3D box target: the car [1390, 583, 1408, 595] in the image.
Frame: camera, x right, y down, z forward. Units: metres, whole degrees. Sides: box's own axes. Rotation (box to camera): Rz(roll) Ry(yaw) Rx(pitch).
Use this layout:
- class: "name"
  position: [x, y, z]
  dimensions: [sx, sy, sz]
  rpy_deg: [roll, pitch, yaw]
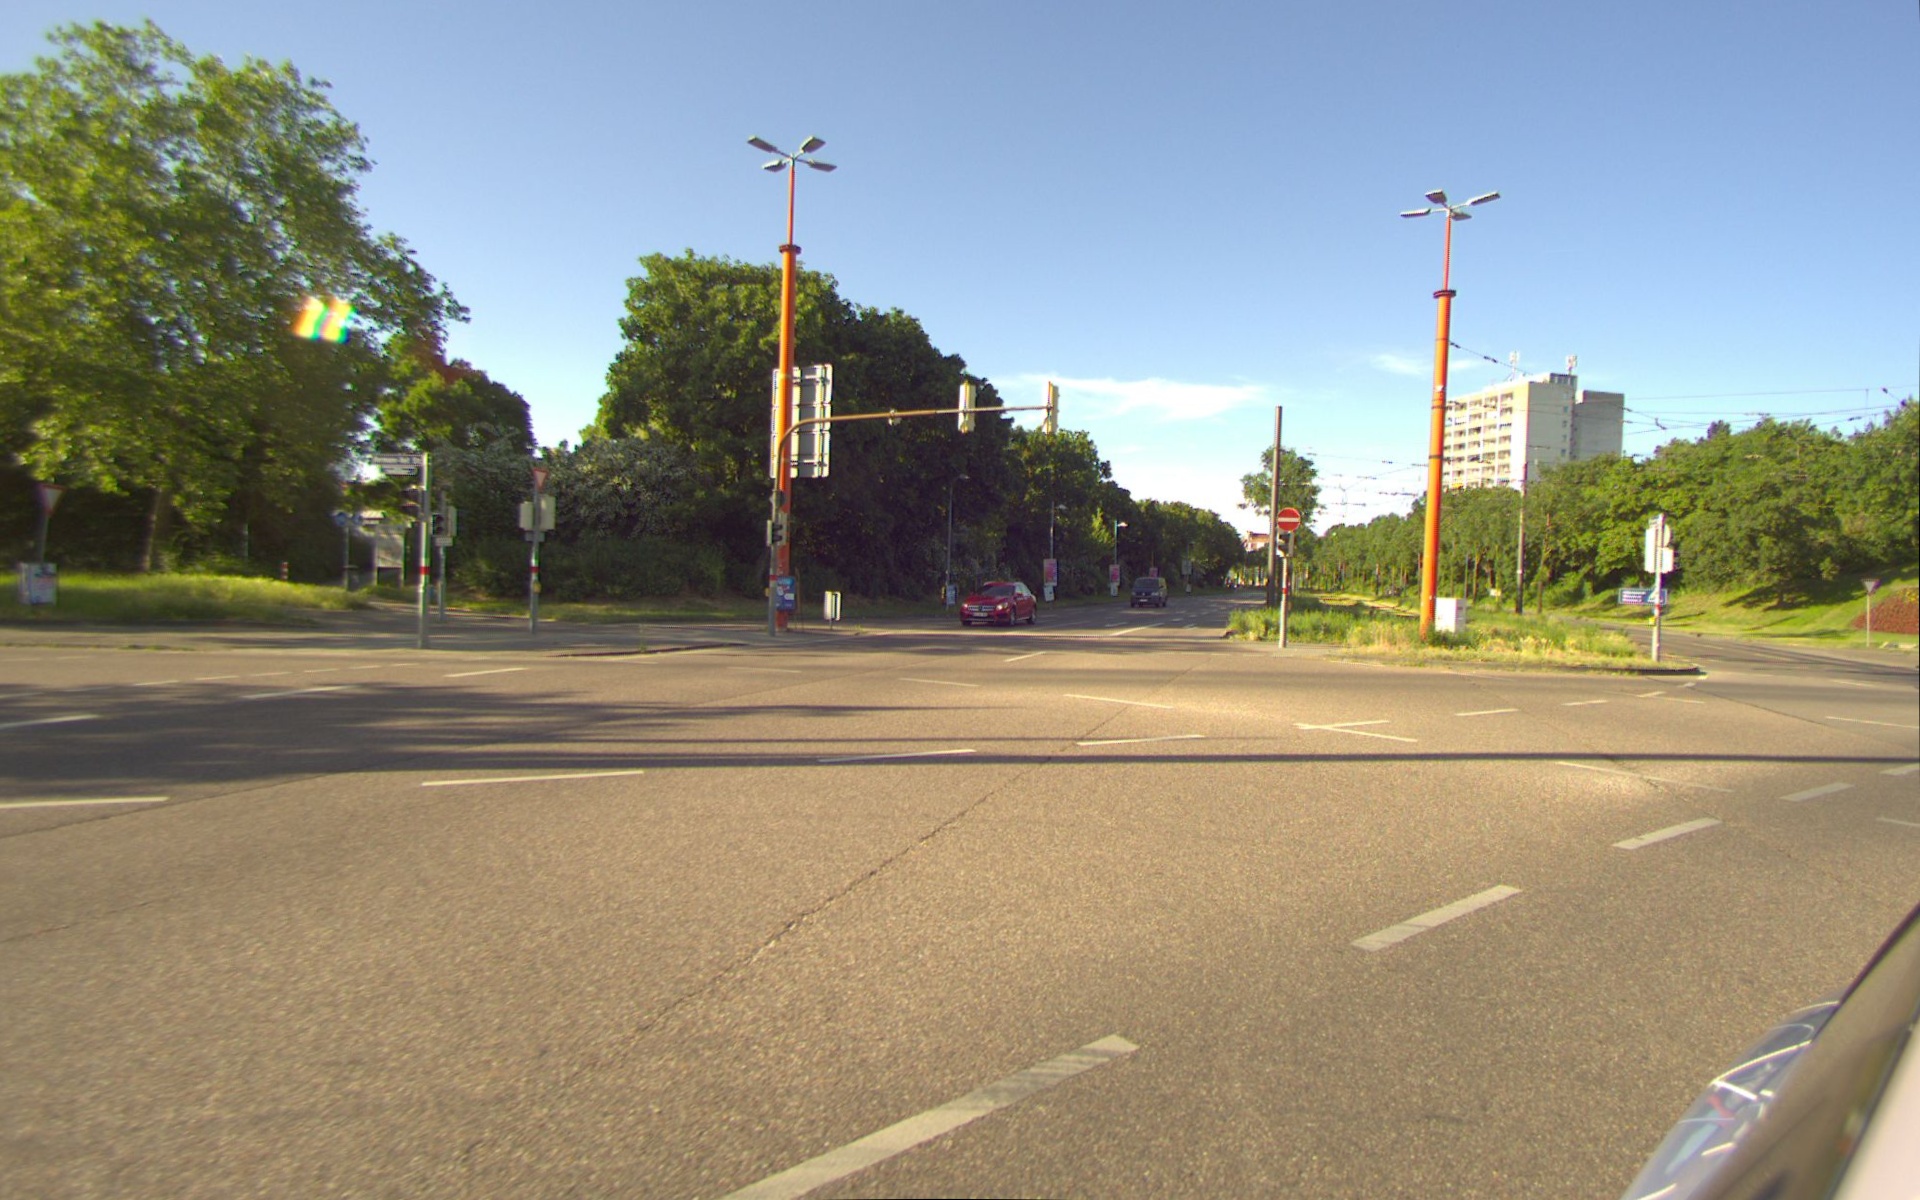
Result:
- class: "car"
  position: [65.421, -1.658, 150.812]
  dimensions: [1.974, 1.725, 4.665]
  rpy_deg: [2, 1, 19]

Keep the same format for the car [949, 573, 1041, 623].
- class: "car"
  position: [1.276, -0.104, 34.887]
  dimensions: [1.975, 1.513, 4.262]
  rpy_deg: [3, 2, 19]

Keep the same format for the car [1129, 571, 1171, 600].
- class: "car"
  position: [12.517, -0.949, 66.554]
  dimensions: [1.975, 1.753, 4.788]
  rpy_deg: [3, 2, 19]
